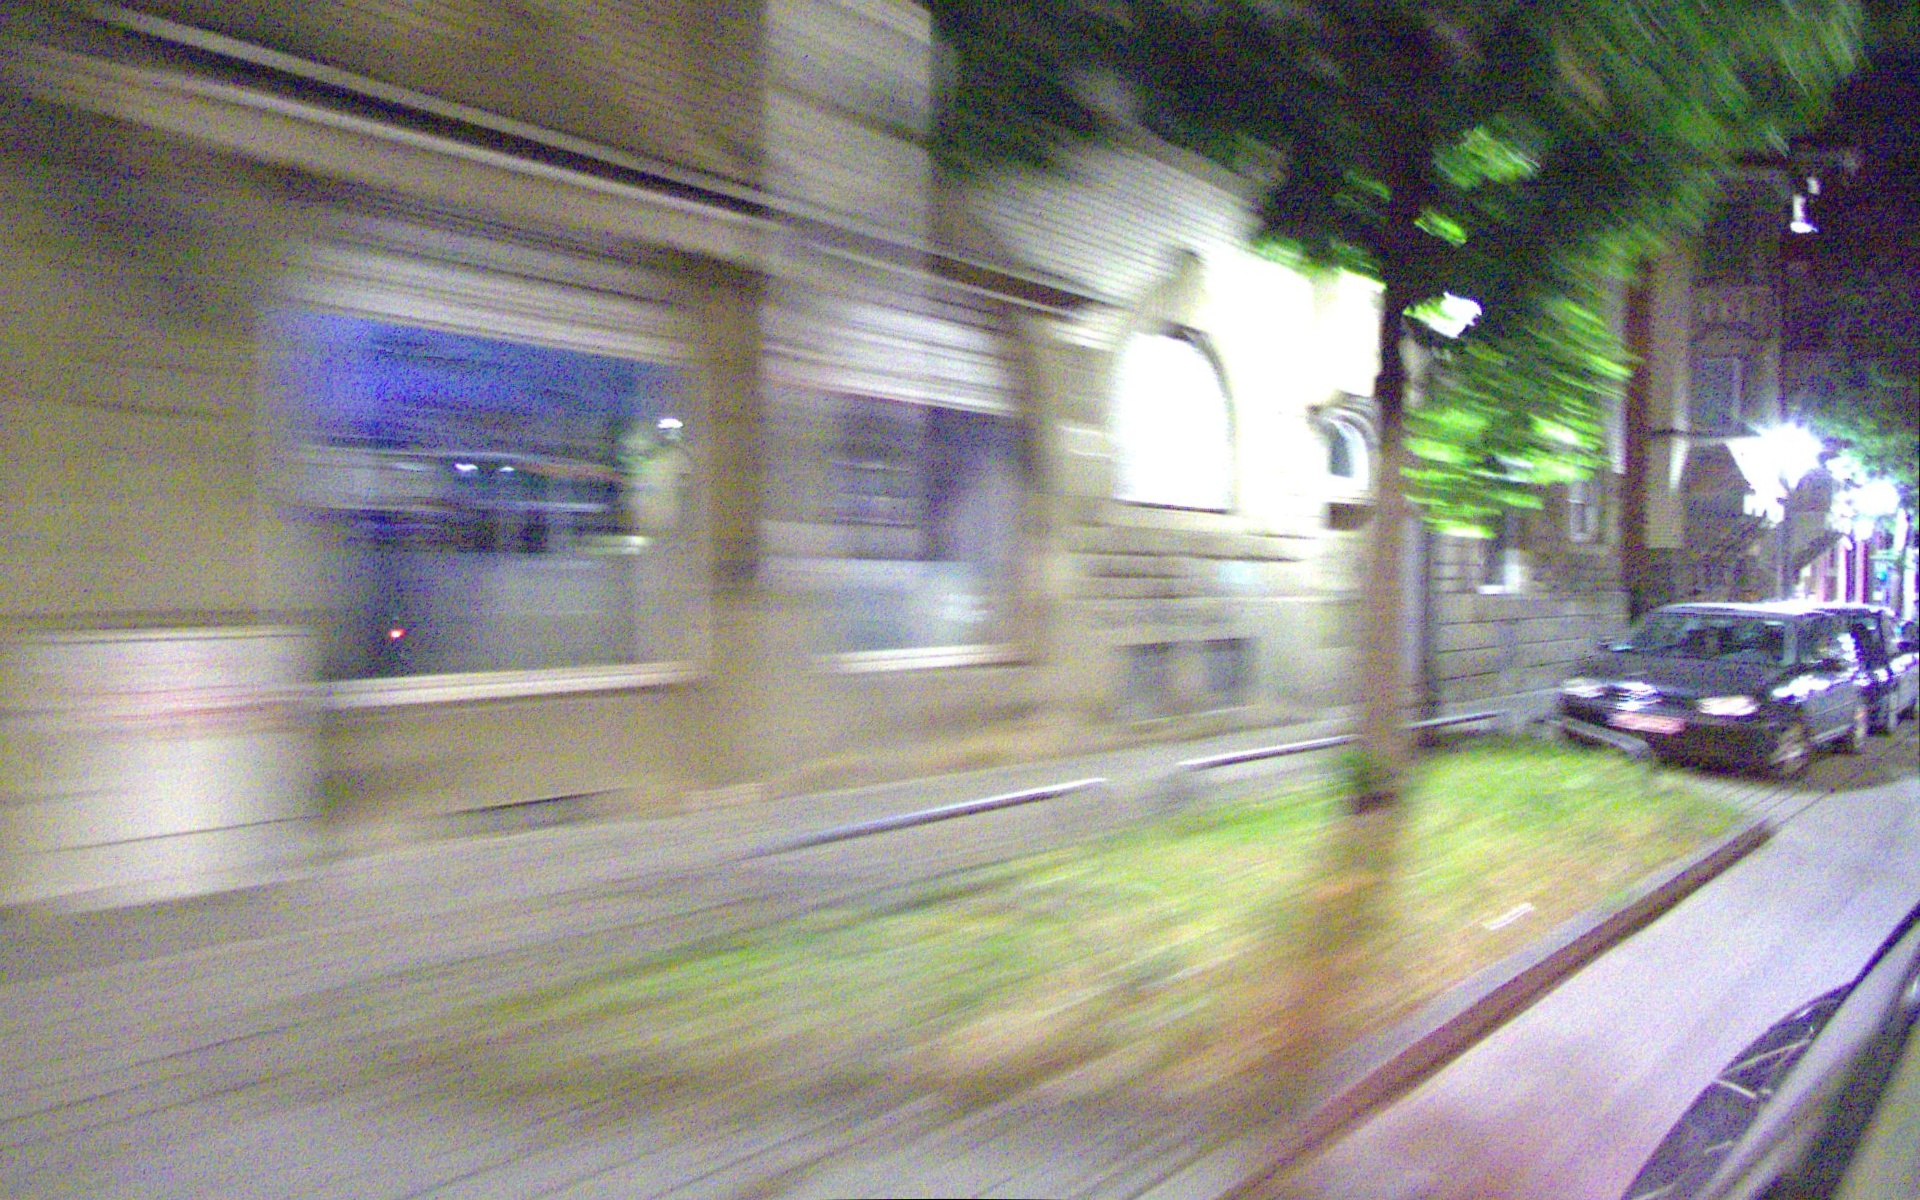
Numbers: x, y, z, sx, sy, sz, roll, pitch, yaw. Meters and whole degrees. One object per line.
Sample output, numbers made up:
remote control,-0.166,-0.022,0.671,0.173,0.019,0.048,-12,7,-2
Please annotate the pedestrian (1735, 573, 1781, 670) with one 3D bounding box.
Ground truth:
pedestrian,14.599,0.375,18.507,0.692,1.730,0.508,0,1,-40

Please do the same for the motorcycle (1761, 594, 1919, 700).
motorcycle,13.276,0.658,15.064,2.051,1.423,0.911,3,2,40

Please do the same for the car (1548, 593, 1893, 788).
car,7.379,0.683,9.696,3.928,1.472,1.740,0,1,-39

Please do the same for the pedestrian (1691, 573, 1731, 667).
pedestrian,14.122,0.369,19.036,0.561,1.730,0.477,0,1,-40

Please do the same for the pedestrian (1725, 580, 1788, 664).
pedestrian,16.049,0.424,20.394,0.949,1.652,0.808,0,0,-40

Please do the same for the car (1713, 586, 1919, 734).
car,11.265,0.631,12.979,4.391,1.519,1.735,0,3,-42

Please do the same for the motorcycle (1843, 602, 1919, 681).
motorcycle,17.364,0.746,18.306,1.916,1.370,0.760,1,1,14
